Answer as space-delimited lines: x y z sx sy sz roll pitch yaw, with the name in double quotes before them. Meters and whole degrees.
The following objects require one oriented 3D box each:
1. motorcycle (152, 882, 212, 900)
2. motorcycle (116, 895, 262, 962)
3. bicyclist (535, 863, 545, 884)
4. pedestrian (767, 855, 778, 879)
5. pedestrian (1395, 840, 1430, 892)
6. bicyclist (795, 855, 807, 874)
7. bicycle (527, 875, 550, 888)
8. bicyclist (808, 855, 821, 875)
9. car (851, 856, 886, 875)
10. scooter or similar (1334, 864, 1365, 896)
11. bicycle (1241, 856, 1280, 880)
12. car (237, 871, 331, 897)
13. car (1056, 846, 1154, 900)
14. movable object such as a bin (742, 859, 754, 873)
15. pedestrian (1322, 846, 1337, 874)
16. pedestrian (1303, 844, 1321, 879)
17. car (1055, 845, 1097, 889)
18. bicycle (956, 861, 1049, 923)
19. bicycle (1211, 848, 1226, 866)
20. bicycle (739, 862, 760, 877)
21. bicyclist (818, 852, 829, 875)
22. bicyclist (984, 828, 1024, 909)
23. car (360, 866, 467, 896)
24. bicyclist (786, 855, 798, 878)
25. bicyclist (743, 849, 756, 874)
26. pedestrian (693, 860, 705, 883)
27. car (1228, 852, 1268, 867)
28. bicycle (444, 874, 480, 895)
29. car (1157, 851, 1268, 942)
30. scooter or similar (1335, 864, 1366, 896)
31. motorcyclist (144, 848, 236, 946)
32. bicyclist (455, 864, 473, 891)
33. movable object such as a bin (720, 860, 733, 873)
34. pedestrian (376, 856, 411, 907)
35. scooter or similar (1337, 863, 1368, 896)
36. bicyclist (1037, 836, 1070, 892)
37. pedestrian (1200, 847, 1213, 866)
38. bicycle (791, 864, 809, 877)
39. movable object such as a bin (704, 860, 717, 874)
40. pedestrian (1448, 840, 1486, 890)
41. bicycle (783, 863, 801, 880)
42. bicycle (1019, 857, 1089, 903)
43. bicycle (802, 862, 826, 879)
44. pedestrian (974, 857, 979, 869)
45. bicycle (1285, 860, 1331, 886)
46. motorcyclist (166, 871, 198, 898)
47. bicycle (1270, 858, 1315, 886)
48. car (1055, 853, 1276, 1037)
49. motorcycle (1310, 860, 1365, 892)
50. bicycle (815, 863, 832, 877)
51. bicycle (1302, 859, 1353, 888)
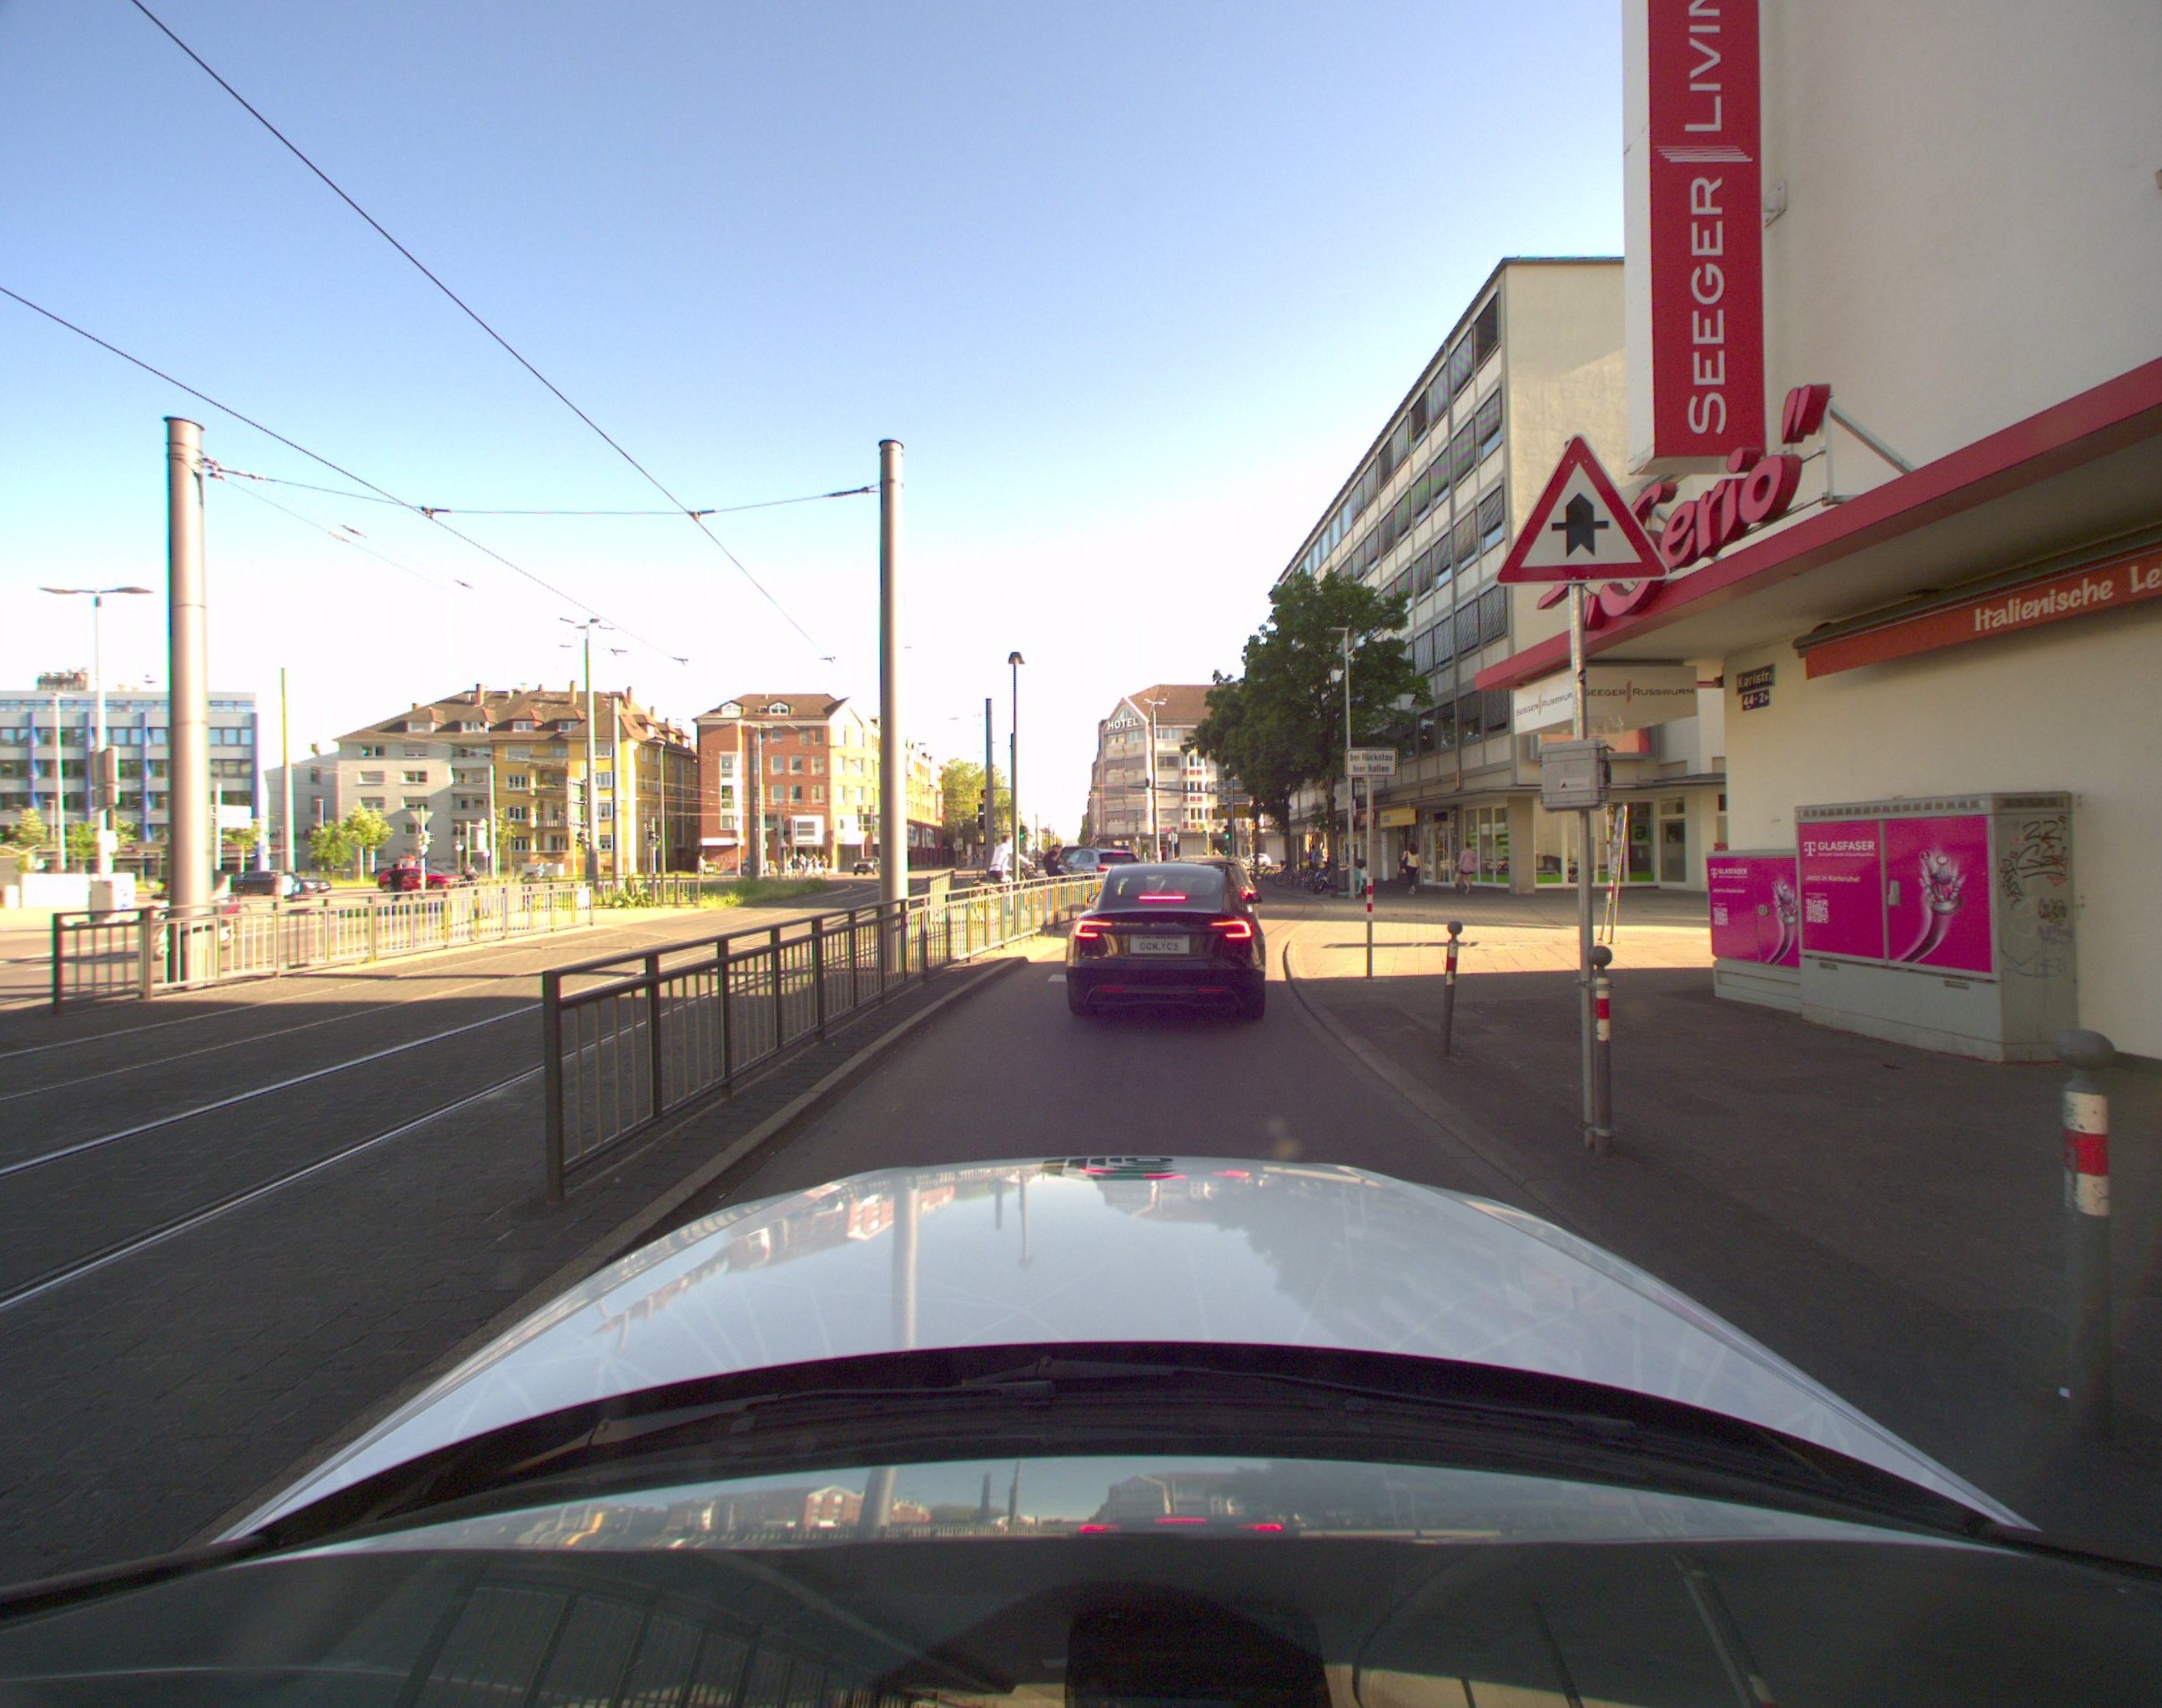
"motorcycle" -51.748 2.101 46.899 2.355 0.984 0.790 0 -1 -6
"motorcycle" -14.678 1.186 13.494 0.600 0.926 2.143 0 -1 -17
"bicyclist" -34.691 1.267 52.210 0.459 1.316 0.398 0 -1 -14
"pedestrian" -25.931 1.054 68.407 0.592 2.014 0.831 0 -1 4
"pedestrian" 11.201 0.404 27.533 0.840 1.707 0.880 0 -1 1
"bicyclist" -22.031 0.838 64.003 0.661 1.454 0.731 0 -1 3
"bicycle" -34.749 1.752 52.169 1.174 0.764 0.318 0 -1 -15
"bicyclist" -21.755 0.917 66.393 0.583 1.649 0.811 -1 -1 26
"car" -17.954 0.943 68.956 1.678 1.560 4.124 0 -1 2
"scooter or similar" 8.967 0.869 27.228 0.959 1.027 0.160 -1 0 4
"bicycle" 9.315 0.715 42.361 1.882 1.156 0.480 -2 -1 2
"car" -46.376 1.733 47.435 3.695 1.472 1.572 0 -1 -6
"car" 0.702 0.586 26.370 1.848 1.635 3.457 0 -1 -25
"movable object such as a bin" -36.000 1.297 88.048 0.995 1.437 1.093 0 -1 -8
"pedestrian" 12.702 0.318 41.609 0.640 1.422 0.623 -1 -1 12
"pedestrian" 11.765 0.379 41.561 0.837 1.721 0.883 -1 -1 13
"car" -0.179 0.507 32.479 1.568 1.618 3.782 0 -1 0
"bicycle" -1.603 0.763 16.669 1.827 1.212 0.578 0 -1 -22
"bicycle" 11.335 0.217 67.306 0.583 1.463 1.678 -1 0 -13
"bicycle" -22.398 1.044 55.064 0.527 1.013 1.887 0 -1 4
"bicyclist" -19.358 0.696 61.184 0.522 1.673 0.771 0 -1 3
"bicyclist" -1.588 0.290 16.689 0.683 1.631 0.574 0 -1 -22
"car" -39.496 1.580 48.262 4.548 1.509 1.777 -2 0 -9
"bicyclist" -21.166 0.886 59.613 0.518 1.673 0.771 0 -1 3
"bicyclist" -22.403 0.498 55.044 0.518 1.673 0.771 0 -1 3
"pedestrian" -28.437 1.279 60.569 0.624 1.688 0.703 0 1 -11
"car" 17.620 0.558 86.171 3.832 1.432 1.801 -1 -2 -4
"bicycle" -34.937 1.737 45.961 1.497 1.133 0.609 -1 -1 -13
"car" 2.360 0.666 15.267 1.755 1.444 4.537 0 0 7
"scooter or similar" 8.953 0.858 27.028 0.952 1.039 0.160 -1 0 4
"motorcyclist" -14.669 0.688 13.438 0.654 1.558 0.879 0 -1 -17
"bicyclist" -34.847 1.338 45.995 0.615 1.493 0.607 0 -1 -12
"movable object such as a bin" -38.286 1.350 87.934 0.995 1.437 1.093 0 -1 -8
"pedestrian" -26.537 1.050 31.443 0.716 1.934 0.802 -1 -1 22
"scooter or similar" 8.938 0.844 26.830 0.959 1.043 0.160 -1 0 4
"bicyclist" -0.759 0.277 22.374 0.685 1.523 0.629 0 -1 -29
"pedestrian" 10.349 0.218 67.263 0.780 1.576 0.864 0 1 -13
"bicycle" -22.018 1.298 63.750 0.647 1.013 1.887 0 -1 4
"movable object such as a bin" -39.845 1.386 87.550 0.995 1.437 1.093 0 -1 -8
"pedestrian" 12.547 0.349 26.492 0.840 1.602 0.880 0 -1 1
"bicycle" -21.165 1.296 59.747 0.527 1.214 1.887 0 -1 4
"bicycle" -0.730 0.691 22.379 1.831 1.212 0.635 0 -1 -29
"bicycle" -21.762 1.334 66.436 0.568 1.291 2.038 -1 -1 25
"pedestrian" -14.100 1.190 109.663 0.584 1.531 0.634 0 -1 -16
"bicycle" 9.259 0.774 33.261 1.758 1.057 0.459 0 -1 6
"motorcyclist" -51.768 1.750 46.896 0.919 1.524 0.781 0 -1 -5
"bicycle" 9.177 0.767 35.300 1.805 1.151 0.435 -1 -1 -3
"car" 0.913 0.736 8.619 1.781 1.450 3.947 0 1 7
"motorcycle" 9.152 0.786 29.087 1.781 1.130 0.504 0 -1 -1
"bicycle" -19.342 1.226 61.252 0.527 1.013 1.899 0 -1 4
"bicycle" 9.436 0.745 31.201 1.850 1.056 0.398 -2 0 -10
